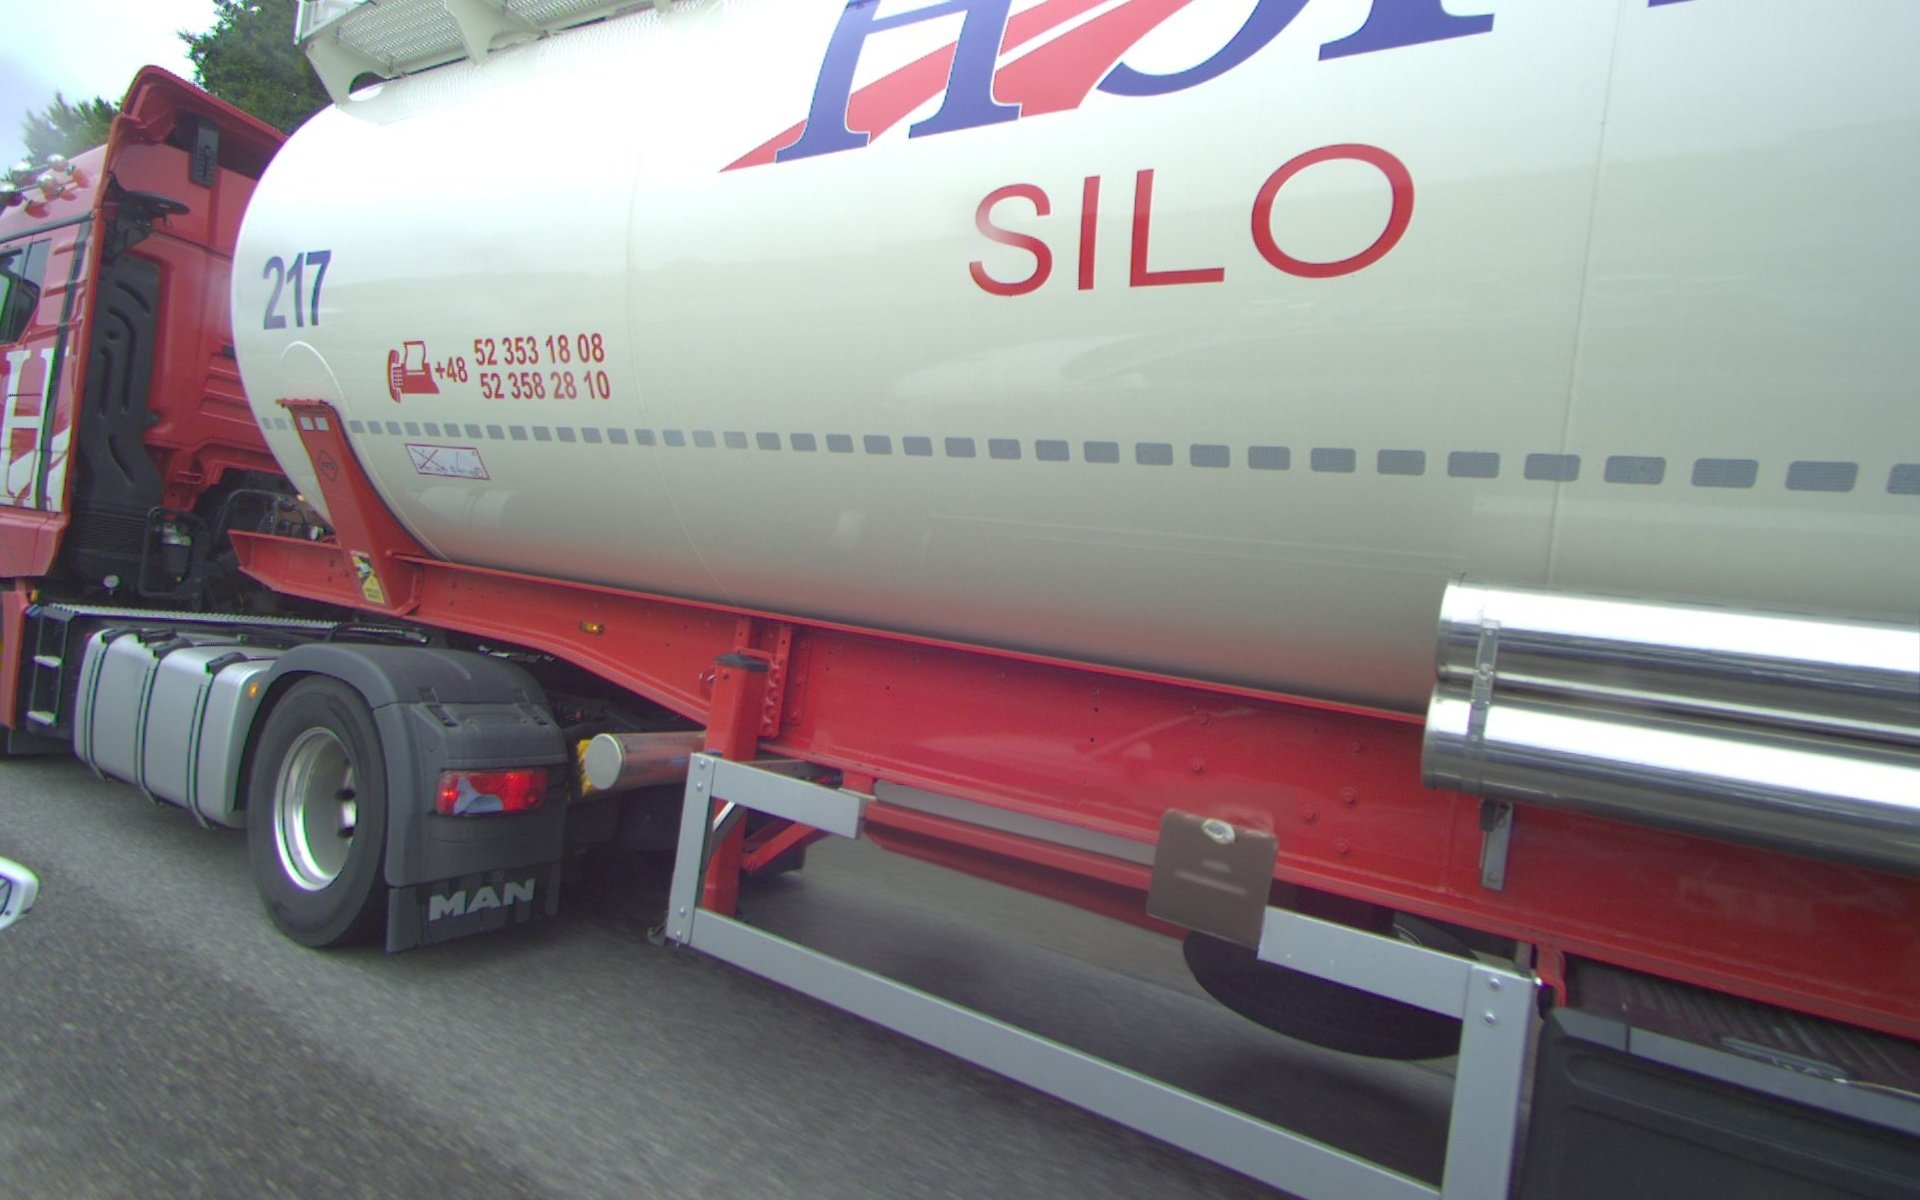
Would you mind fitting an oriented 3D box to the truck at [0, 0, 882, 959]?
[{"bbox_3d":[-4.091,-0.891,6.372,6.448,3.959,2.699,6,-1,32],"label":"truck"}]

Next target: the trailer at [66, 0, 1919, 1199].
[{"bbox_3d":[2.206,-0.191,2.467,12.911,3.986,2.673,7,-1,32],"label":"trailer"}]
